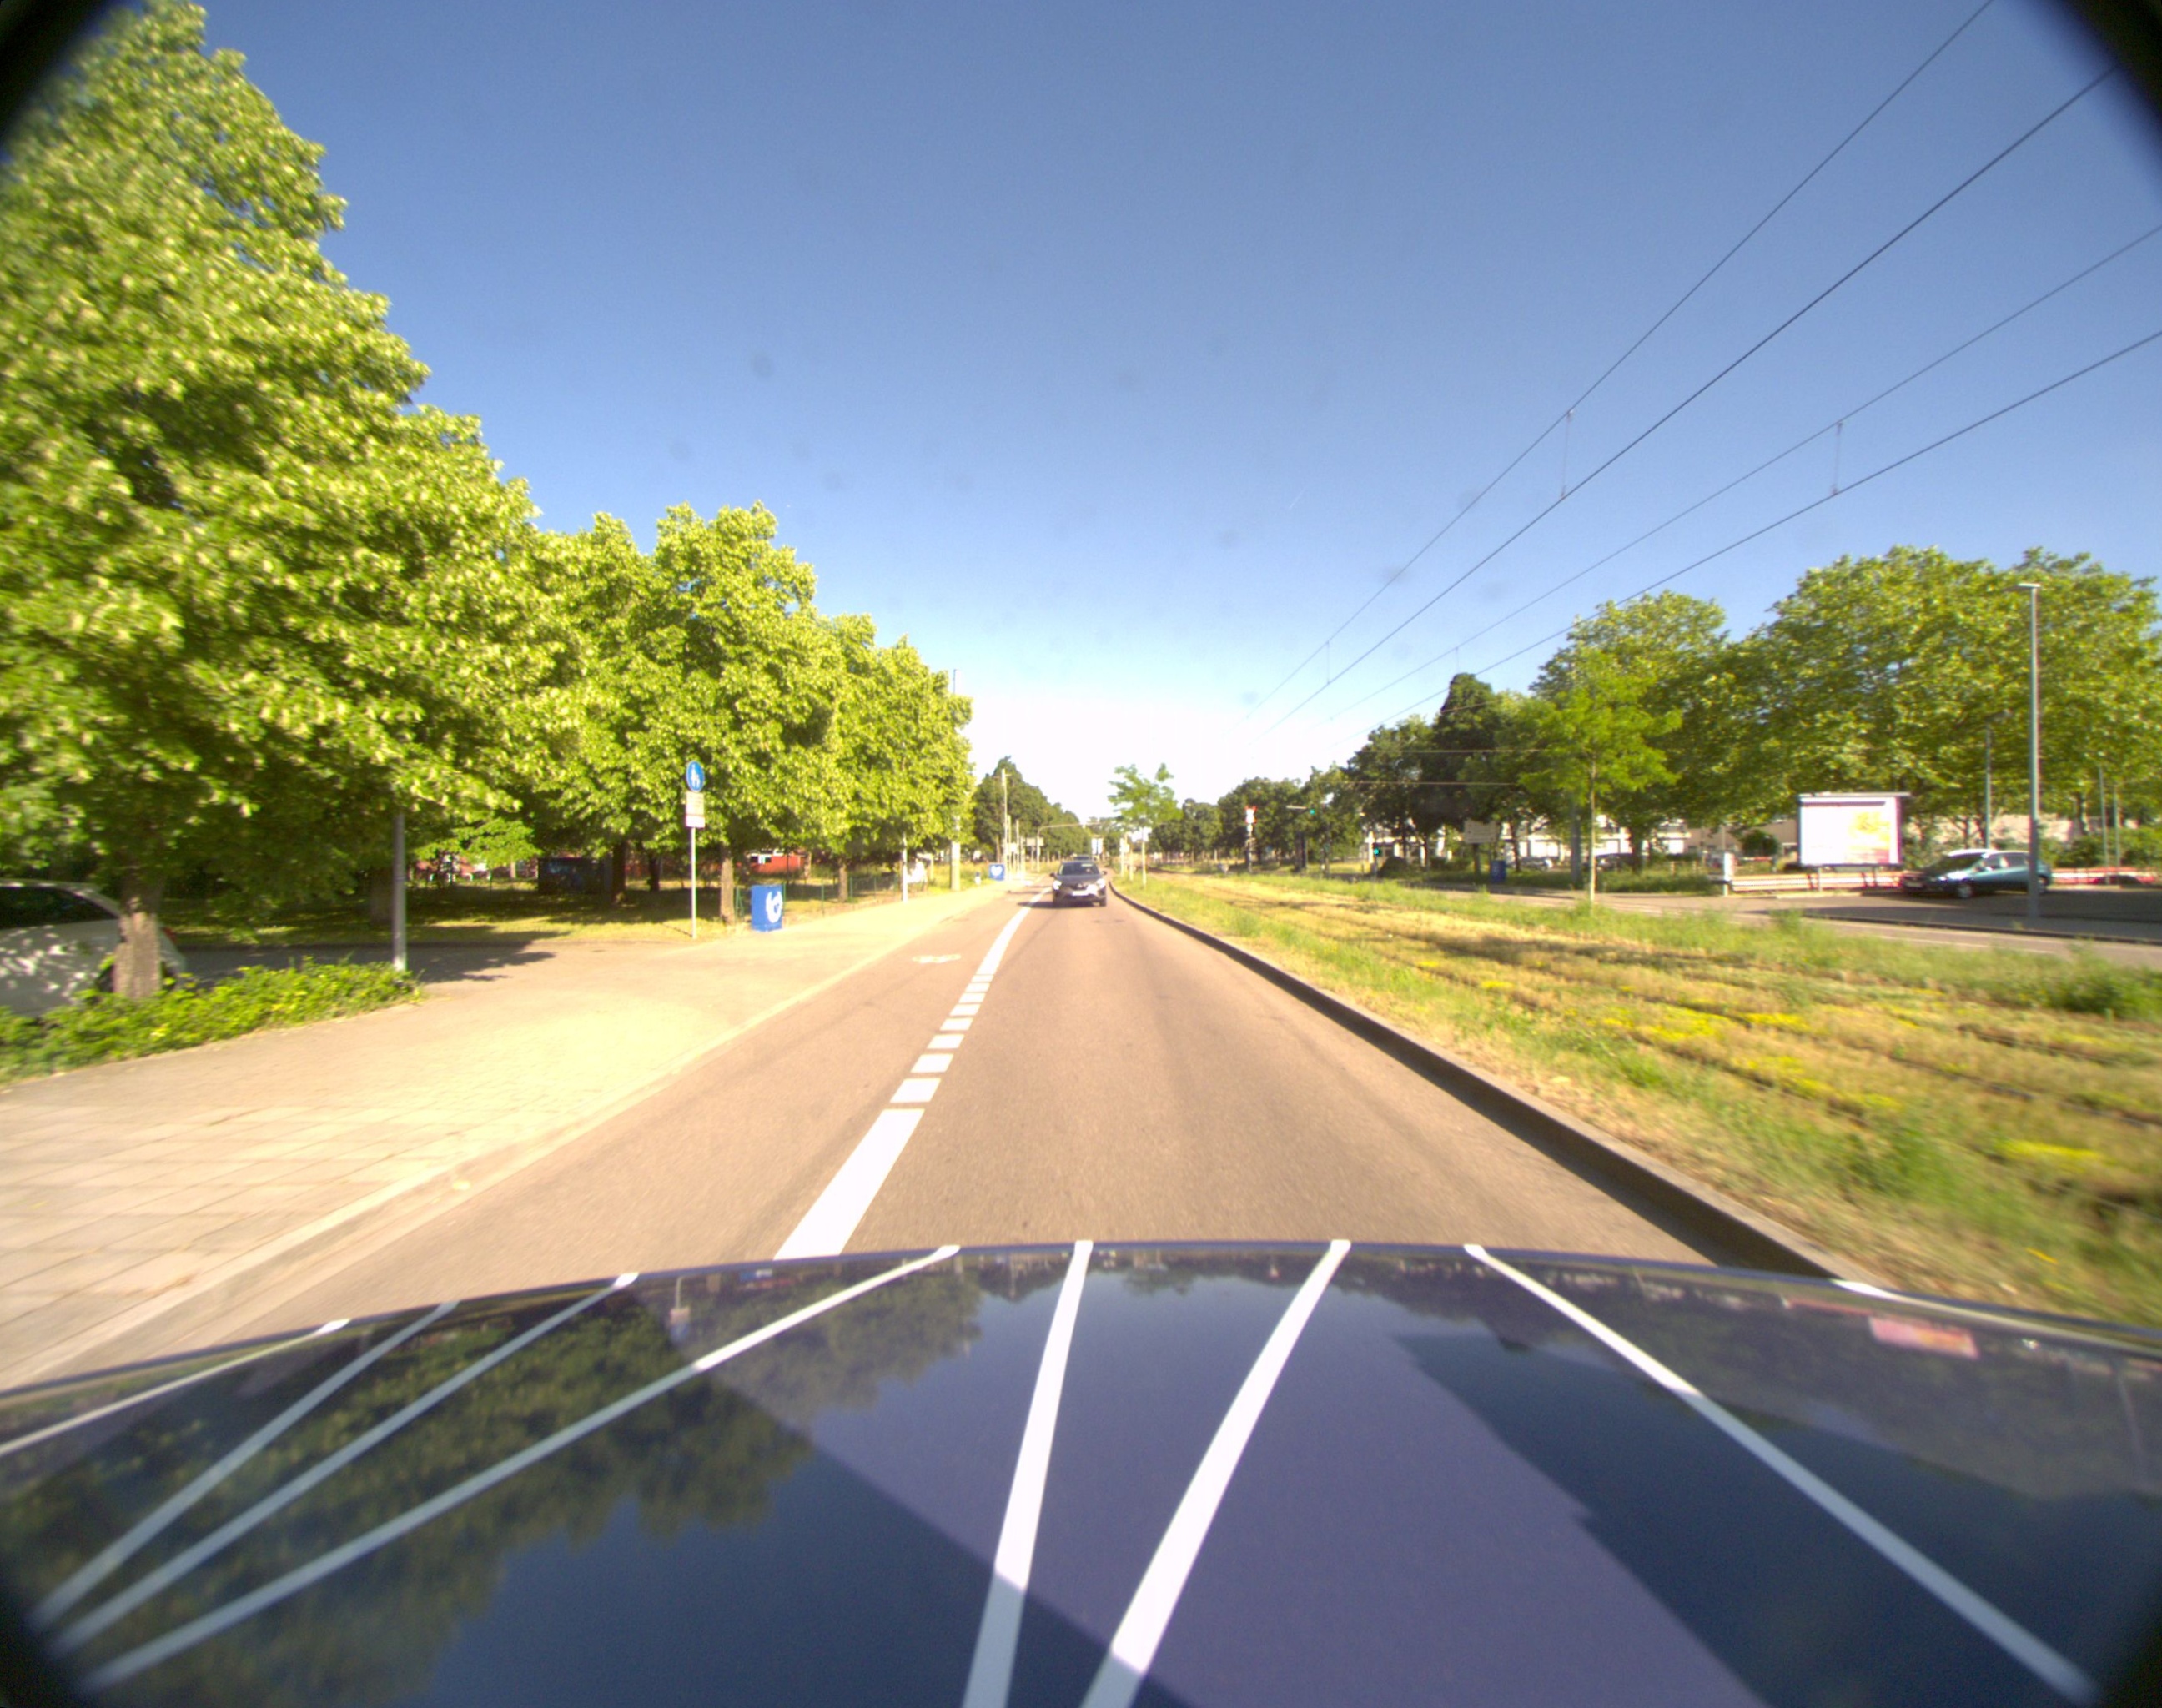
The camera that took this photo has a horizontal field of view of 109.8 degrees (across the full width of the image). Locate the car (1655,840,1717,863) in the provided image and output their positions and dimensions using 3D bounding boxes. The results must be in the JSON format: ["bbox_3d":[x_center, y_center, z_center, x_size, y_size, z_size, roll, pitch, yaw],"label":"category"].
[{"bbox_3d":[55.092,-0.259,69.212,4.051,1.920,1.999,-2,1,-2],"label":"car"}]

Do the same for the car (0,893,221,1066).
[{"bbox_3d":[-9.676,1.081,5.891,1.466,1.353,4.052,0,0,-1],"label":"car"}]

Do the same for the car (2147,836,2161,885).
[{"bbox_3d":[40.687,0.248,26.097,1.998,1.809,4.529,0,0,5],"label":"car"}]

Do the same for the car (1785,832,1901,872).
[{"bbox_3d":[39.648,-0.106,39.603,4.051,1.851,2.000,-3,0,-2],"label":"car"}]

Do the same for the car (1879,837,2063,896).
[{"bbox_3d":[31.738,0.436,27.200,3.996,1.846,2.001,-3,0,4],"label":"car"}]

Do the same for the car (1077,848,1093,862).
[{"bbox_3d":[0.613,0.097,105.272,1.998,1.824,4.000,-2,1,2],"label":"car"}]

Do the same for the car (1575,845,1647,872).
[{"bbox_3d":[40.323,0.325,57.840,4.051,1.816,1.999,-2,1,-2],"label":"car"}]

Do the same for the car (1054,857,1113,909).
[{"bbox_3d":[0.074,0.953,26.582,1.867,1.614,4.000,-1,0,0],"label":"car"}]
